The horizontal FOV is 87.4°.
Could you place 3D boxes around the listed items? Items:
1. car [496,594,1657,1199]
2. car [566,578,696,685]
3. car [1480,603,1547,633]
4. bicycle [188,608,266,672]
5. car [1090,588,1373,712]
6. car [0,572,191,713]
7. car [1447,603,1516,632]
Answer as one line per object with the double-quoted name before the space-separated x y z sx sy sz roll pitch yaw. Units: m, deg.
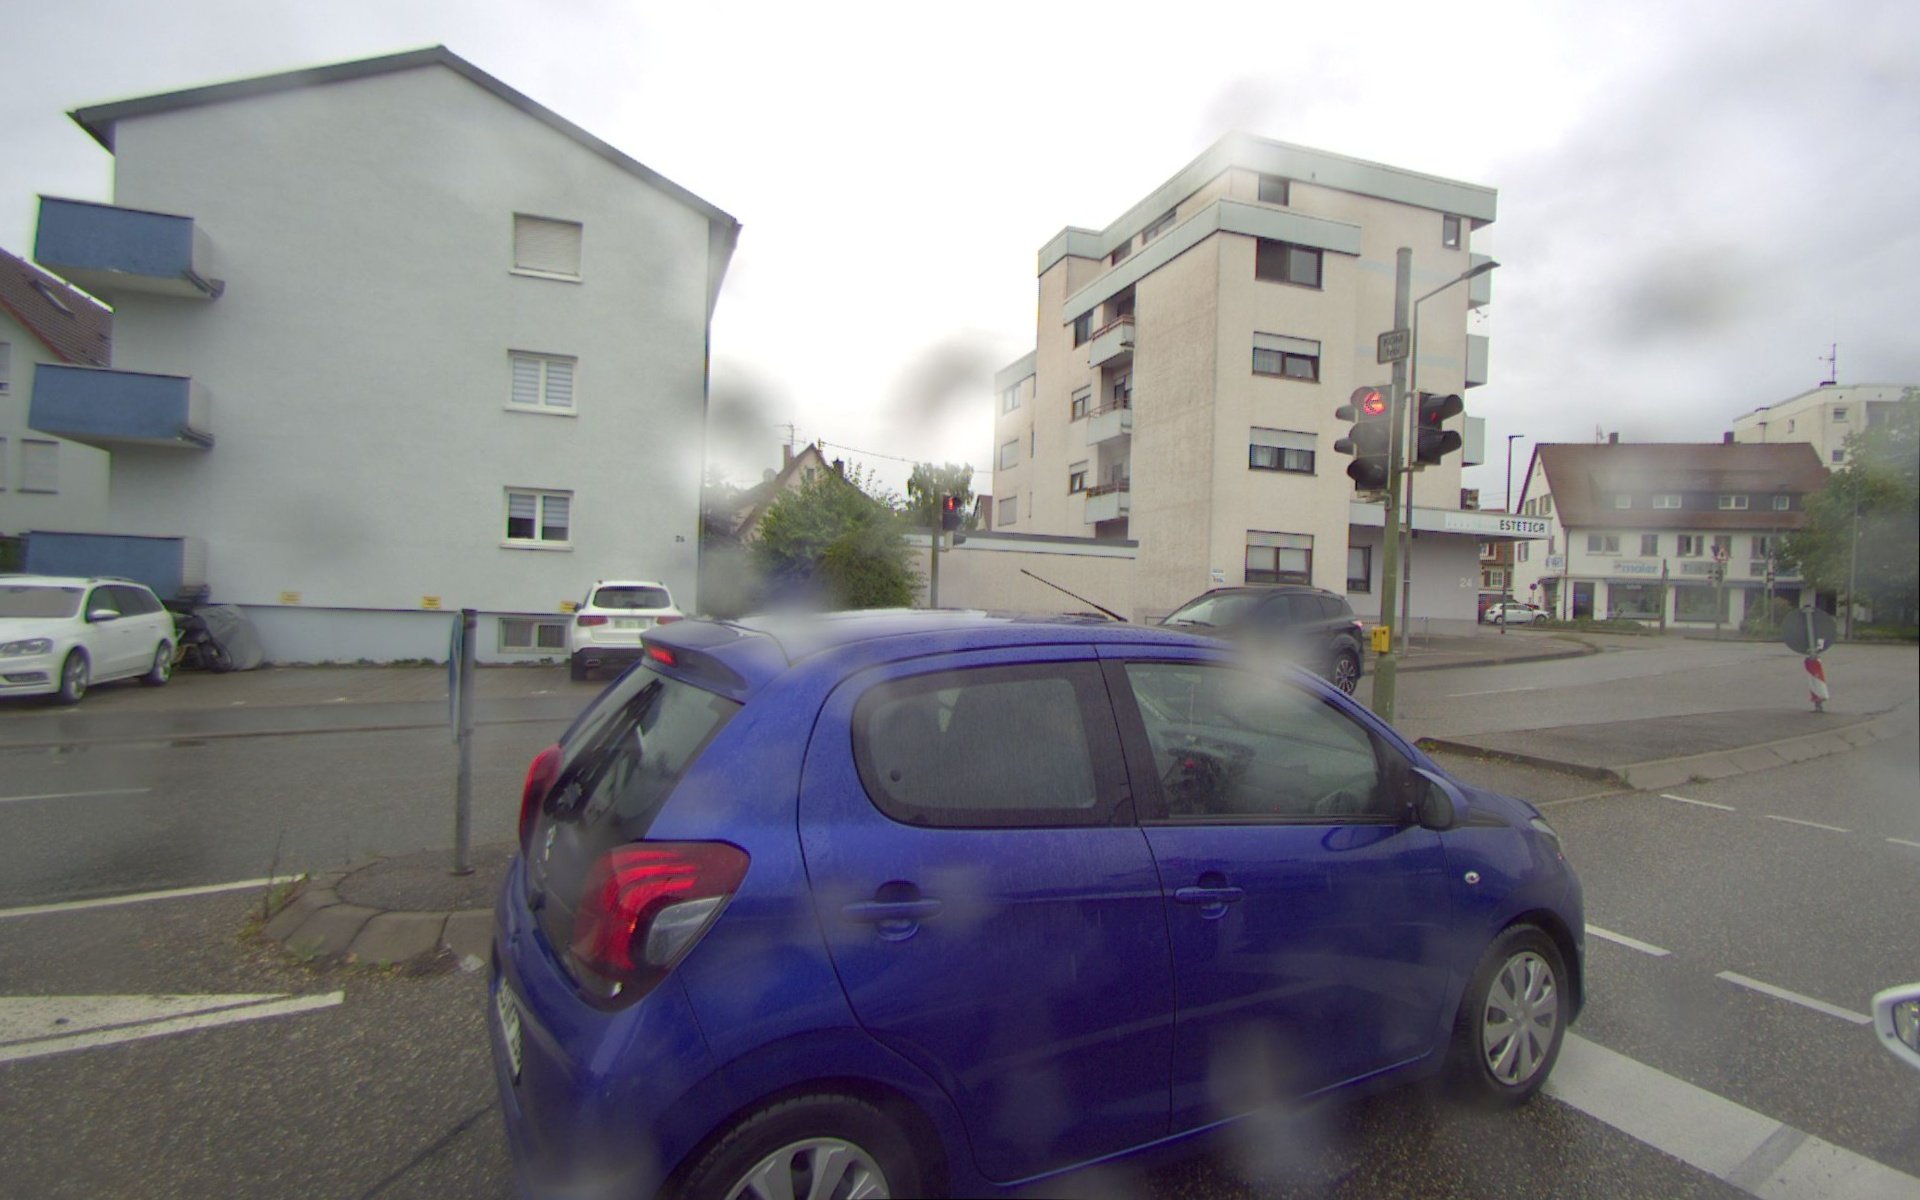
"car" 0.466 0.733 3.098 3.324 1.432 1.498 1 1 -30
"car" -5.767 0.504 17.572 1.884 1.637 3.982 2 0 -19
"car" 37.914 1.229 68.896 3.611 1.946 1.889 2 0 14
"bicycle" -12.698 0.683 17.417 1.053 1.067 0.345 0 1 -30
"car" 4.116 0.691 15.039 4.141 1.618 1.867 1 -1 -34
"car" -11.484 0.450 12.502 1.854 1.480 4.732 1 -1 -23
"car" 37.206 1.234 71.726 3.987 1.868 1.889 2 0 14
